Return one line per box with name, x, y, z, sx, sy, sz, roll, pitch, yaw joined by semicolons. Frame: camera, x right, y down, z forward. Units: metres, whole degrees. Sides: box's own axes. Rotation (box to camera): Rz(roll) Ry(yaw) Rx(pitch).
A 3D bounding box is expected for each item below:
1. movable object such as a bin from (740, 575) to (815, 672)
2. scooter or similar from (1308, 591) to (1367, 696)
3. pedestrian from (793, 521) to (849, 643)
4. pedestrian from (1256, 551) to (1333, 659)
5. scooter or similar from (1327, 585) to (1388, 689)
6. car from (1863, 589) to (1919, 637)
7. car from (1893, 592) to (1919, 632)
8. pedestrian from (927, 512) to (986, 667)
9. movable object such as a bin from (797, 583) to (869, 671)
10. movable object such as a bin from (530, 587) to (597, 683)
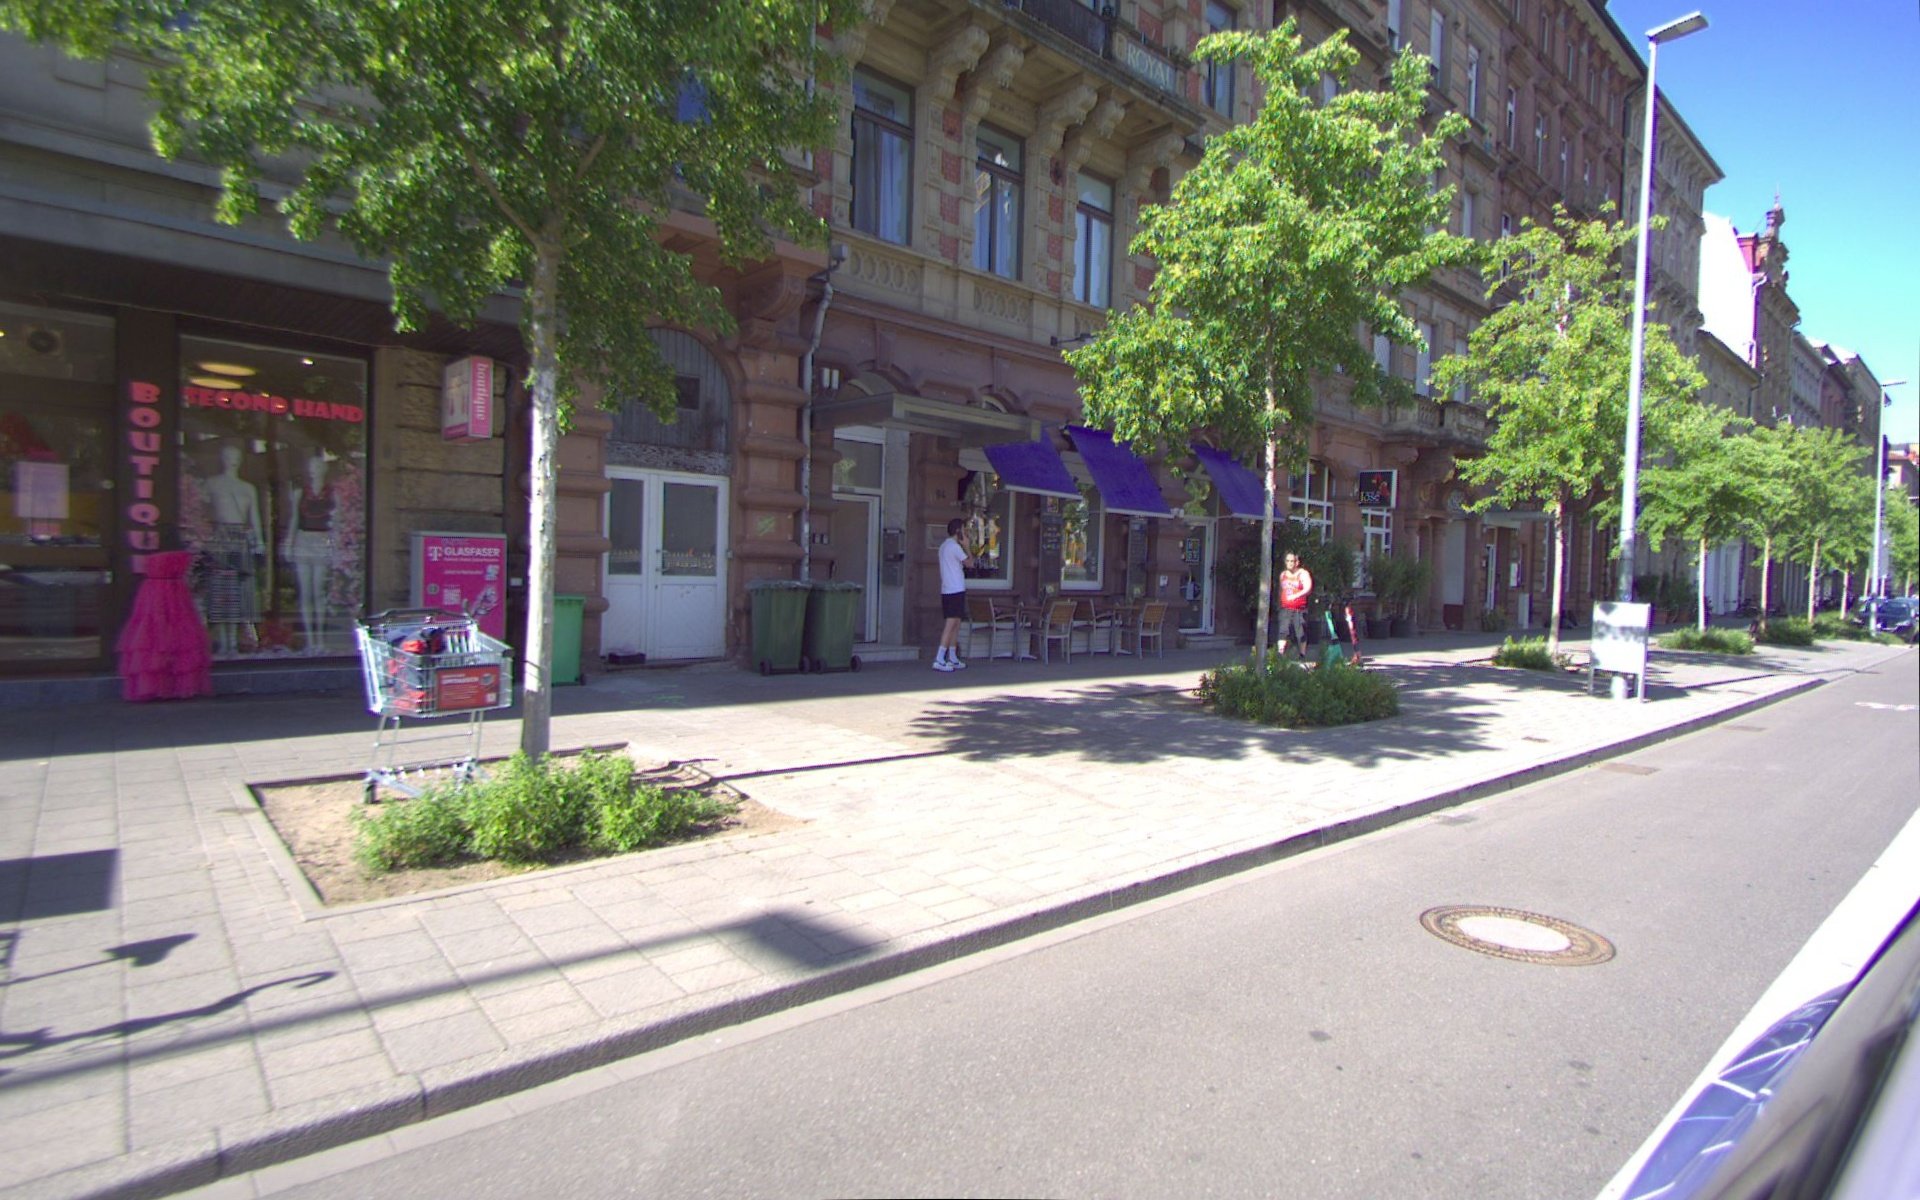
movable object such as a bin;-2.063;0.249;11.441;0.576;1.025;0.693;-1;4;-36
scooter or similar;4.465;0.496;11.976;0.283;1.187;0.640;1;1;-19
pedestrian;-2.025;-0.269;14.712;0.512;1.718;0.640;0;1;-40
pedestrian;5.217;0.068;15.790;0.794;1.603;0.753;0;4;-41
scooter or similar;4.915;0.443;12.535;0.320;1.235;0.676;1;1;-19
car;32.989;0.418;35.372;3.684;1.603;1.668;-1;0;-41
car;37.783;0.453;39.479;3.684;1.480;1.668;-1;0;-41
pedestrian;-0.046;-0.134;12.620;0.491;1.873;0.513;1;1;-33
movable object such as a bin;-1.494;0.294;11.858;0.576;0.986;0.693;-1;1;-36
movable object such as a bin;-3.898;0.328;9.942;0.467;0.876;0.607;-1;4;-36
